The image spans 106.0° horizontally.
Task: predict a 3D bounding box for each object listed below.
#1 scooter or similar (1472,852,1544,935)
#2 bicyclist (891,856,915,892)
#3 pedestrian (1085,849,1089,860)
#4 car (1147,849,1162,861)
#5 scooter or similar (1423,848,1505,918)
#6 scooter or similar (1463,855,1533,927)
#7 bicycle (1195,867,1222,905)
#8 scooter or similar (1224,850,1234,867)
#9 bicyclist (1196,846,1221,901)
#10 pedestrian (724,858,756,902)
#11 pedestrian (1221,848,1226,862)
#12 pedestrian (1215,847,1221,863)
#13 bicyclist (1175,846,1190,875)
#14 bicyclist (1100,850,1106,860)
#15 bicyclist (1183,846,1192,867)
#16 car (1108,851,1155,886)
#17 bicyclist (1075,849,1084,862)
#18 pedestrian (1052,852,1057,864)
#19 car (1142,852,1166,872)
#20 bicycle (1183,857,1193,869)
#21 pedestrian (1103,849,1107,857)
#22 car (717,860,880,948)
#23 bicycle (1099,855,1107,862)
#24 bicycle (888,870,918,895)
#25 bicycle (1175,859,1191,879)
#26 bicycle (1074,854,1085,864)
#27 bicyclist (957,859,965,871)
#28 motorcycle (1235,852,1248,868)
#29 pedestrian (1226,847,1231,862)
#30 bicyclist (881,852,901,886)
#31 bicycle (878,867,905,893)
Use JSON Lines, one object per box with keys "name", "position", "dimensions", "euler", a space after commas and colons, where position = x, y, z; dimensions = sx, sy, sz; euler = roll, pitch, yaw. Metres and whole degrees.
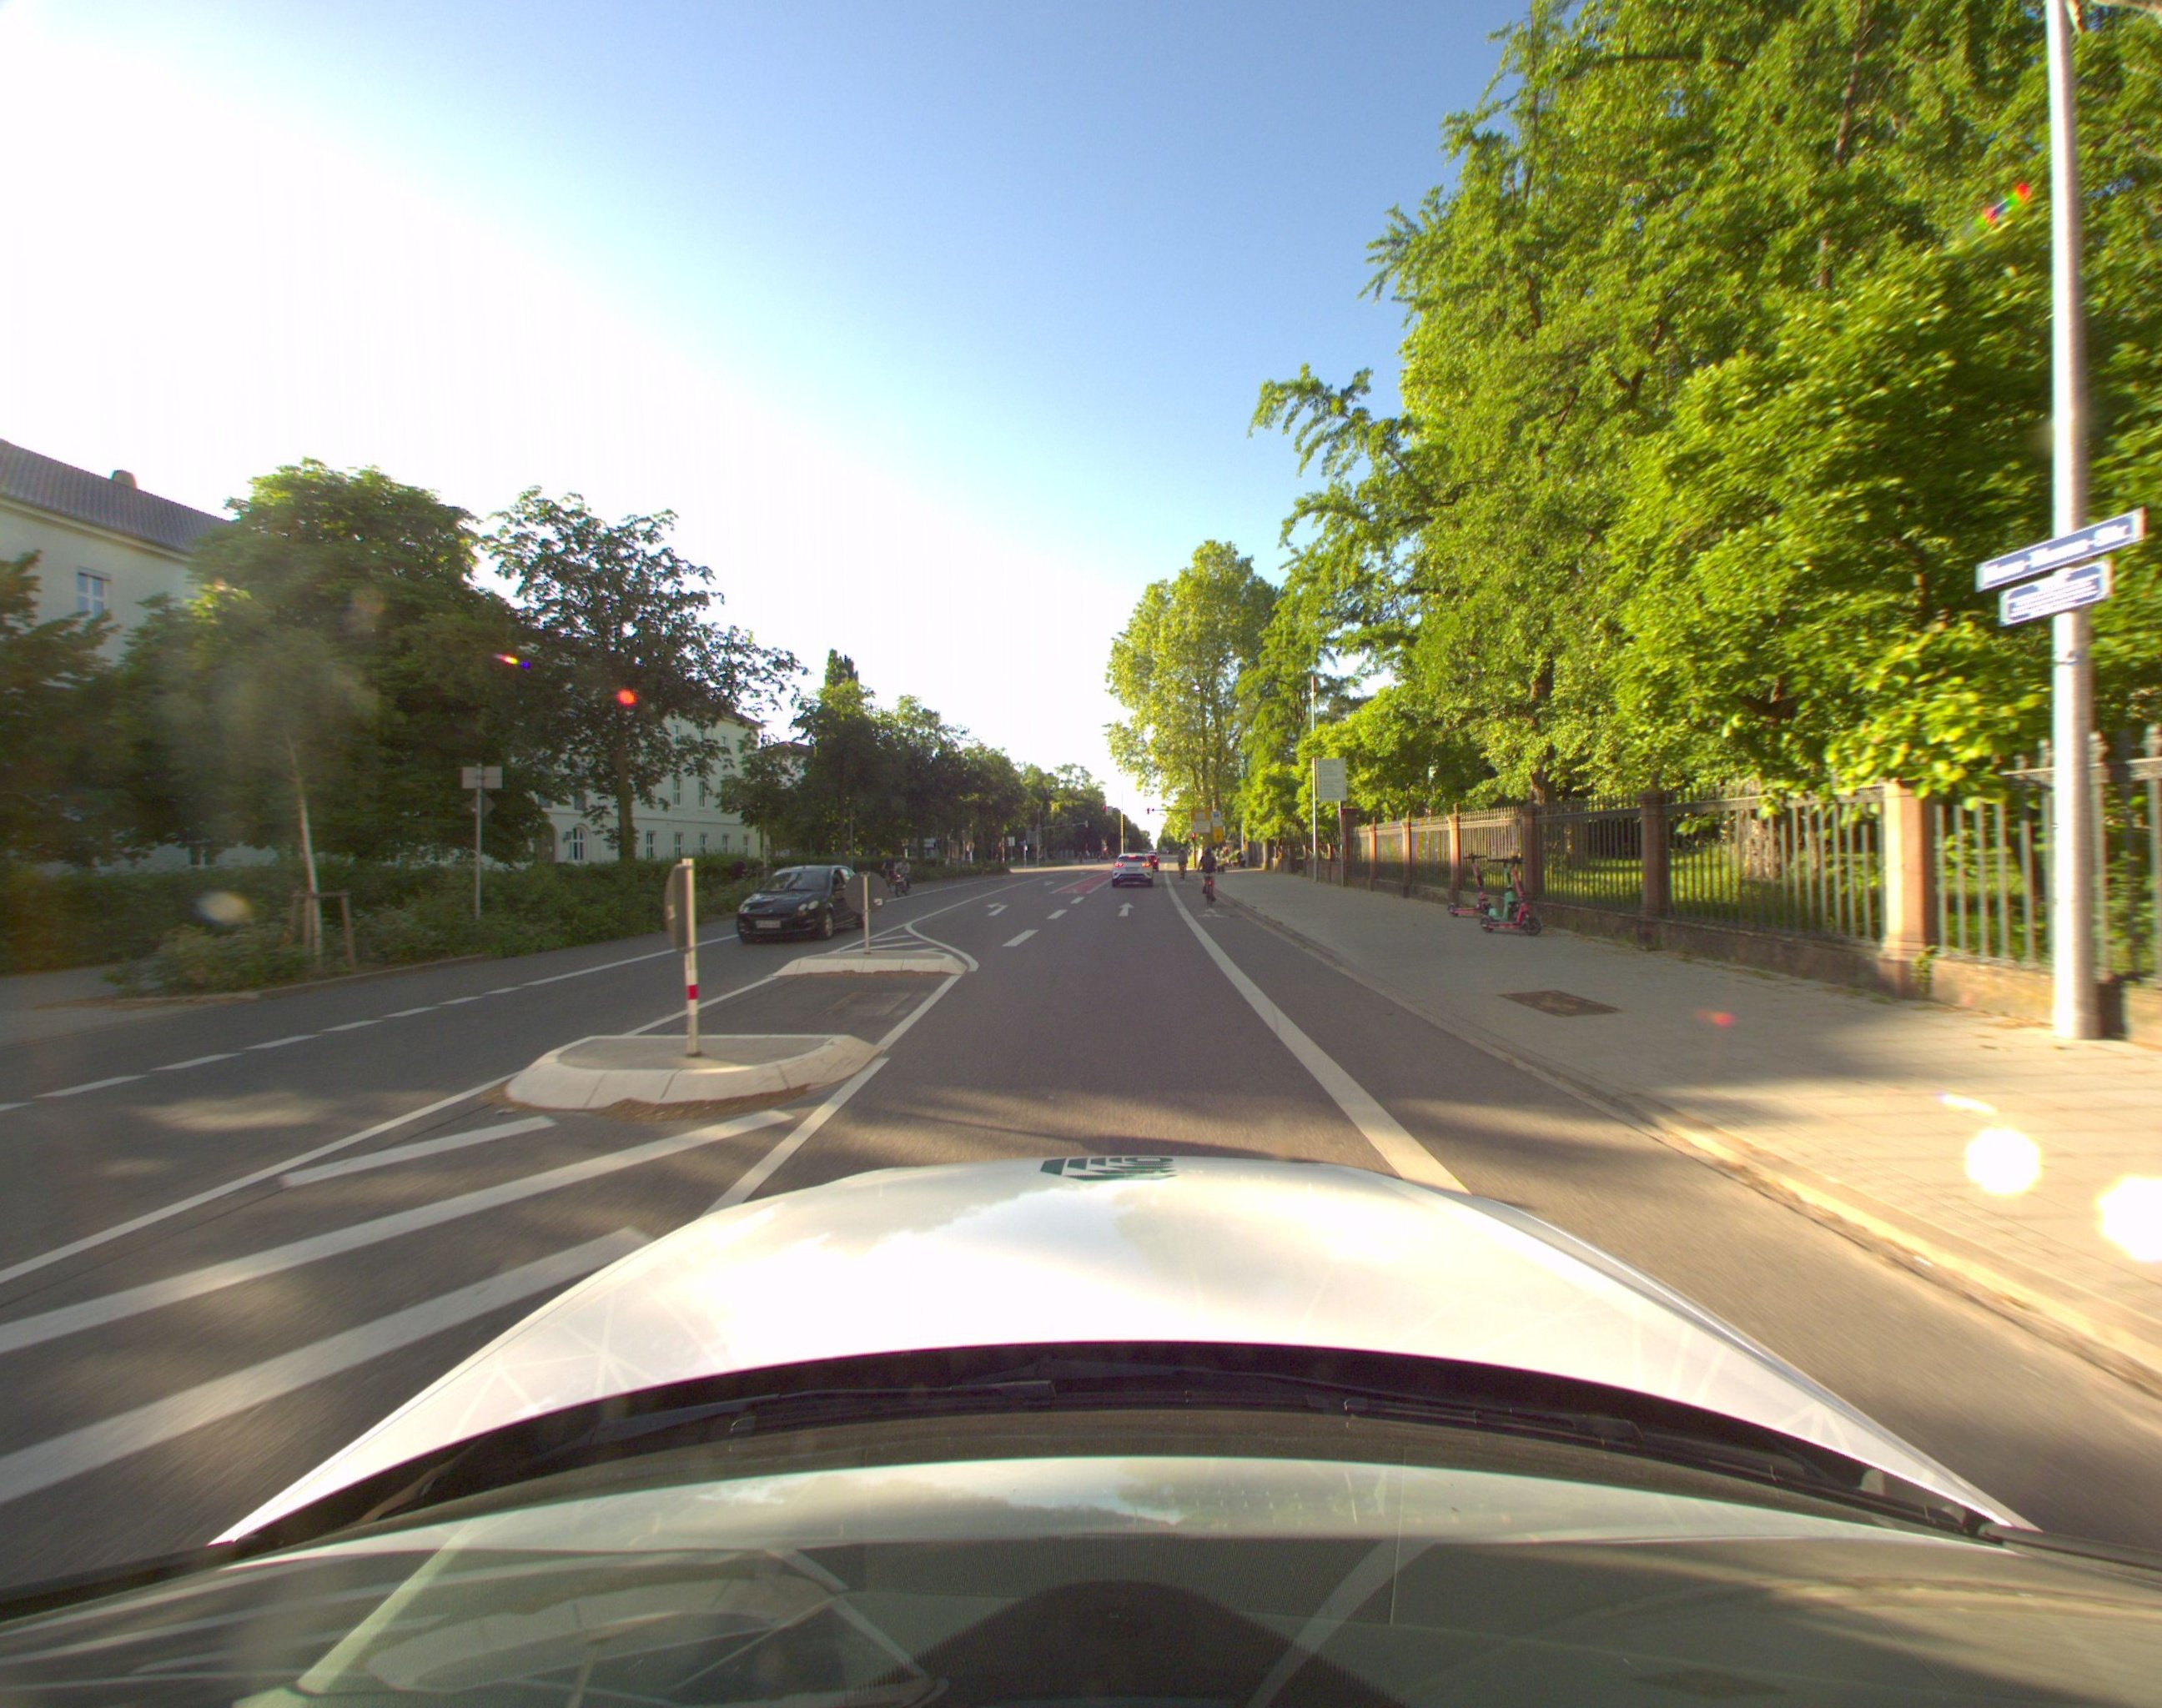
{"name": "scooter or similar", "position": [6.699, 0.594, 12.829], "dimensions": [0.297, 1.240, 1.156], "euler": [-2, 0, -11]}
{"name": "bicyclist", "position": [-7.318, 0.817, 33.522], "dimensions": [0.643, 1.418, 0.971], "euler": [-5, 0, 2]}
{"name": "pedestrian", "position": [1.241, 0.112, 159.707], "dimensions": [0.654, 2.013, 0.833], "euler": [-2, 0, 3]}
{"name": "car", "position": [10.436, 0.161, 115.058], "dimensions": [1.726, 1.546, 4.011], "euler": [-2, 0, 9]}
{"name": "scooter or similar", "position": [7.342, 0.533, 15.673], "dimensions": [0.548, 1.243, 1.551], "euler": [-2, 0, -12]}
{"name": "scooter or similar", "position": [7.030, 0.597, 13.779], "dimensions": [0.479, 1.122, 1.336], "euler": [-3, 0, 1]}
{"name": "bicycle", "position": [3.808, 0.937, 24.451], "dimensions": [0.640, 1.024, 2.215], "euler": [0, 0, 5]}
{"name": "scooter or similar", "position": [12.441, 0.374, 68.329], "dimensions": [0.563, 1.382, 1.858], "euler": [-2, 0, 4]}
{"name": "bicyclist", "position": [3.798, 0.563, 24.366], "dimensions": [0.633, 1.614, 1.286], "euler": [-1, 0, 5]}
{"name": "pedestrian", "position": [-14.904, 1.137, 35.628], "dimensions": [0.852, 1.851, 1.002], "euler": [-2, 0, 3]}
{"name": "pedestrian", "position": [16.983, 0.140, 96.884], "dimensions": [0.479, 1.640, 0.433], "euler": [-5, 3, 11]}
{"name": "pedestrian", "position": [16.290, 0.132, 96.780], "dimensions": [0.479, 1.792, 0.433], "euler": [-5, 3, 11]}
{"name": "bicyclist", "position": [5.466, 0.359, 43.868], "dimensions": [0.744, 1.537, 0.971], "euler": [-1, 0, 5]}
{"name": "bicyclist", "position": [3.609, 0.162, 133.777], "dimensions": [0.950, 1.705, 1.235], "euler": [-2, 0, 7]}
{"name": "bicyclist", "position": [9.077, 0.244, 69.426], "dimensions": [0.746, 1.750, 0.844], "euler": [-1, 0, 4]}
{"name": "car", "position": [2.351, 0.619, 37.269], "dimensions": [1.984, 1.453, 4.005], "euler": [-2, 0, 5]}
{"name": "bicyclist", "position": [-0.238, 0.175, 115.086], "dimensions": [1.086, 1.754, 1.099], "euler": [-2, 0, 7]}
{"name": "pedestrian", "position": [-4.374, 0.657, 136.056], "dimensions": [0.648, 1.888, 0.664], "euler": [-2, 0, 7]}
{"name": "car", "position": [6.075, 0.657, 67.941], "dimensions": [1.920, 1.533, 4.006], "euler": [-2, 0, 5]}
{"name": "bicycle", "position": [9.072, 0.775, 69.344], "dimensions": [0.749, 1.026, 1.872], "euler": [-1, -1, 5]}
{"name": "pedestrian", "position": [7.063, -0.328, 242.864], "dimensions": [0.869, 2.149, 1.107], "euler": [-2, 0, 14]}
{"name": "car", "position": [-5.557, 0.916, 16.576], "dimensions": [1.751, 1.459, 4.002], "euler": [-2, 0, 2]}
{"name": "bicycle", "position": [3.612, 0.729, 133.651], "dimensions": [0.959, 1.181, 2.957], "euler": [-2, 0, 7]}
{"name": "bicycle", "position": [-7.294, 1.161, 33.496], "dimensions": [0.614, 0.921, 2.181], "euler": [-2, 0, 2]}
{"name": "bicycle", "position": [5.463, 0.803, 43.784], "dimensions": [0.749, 1.026, 1.872], "euler": [-1, -1, 5]}
{"name": "bicycle", "position": [-0.220, 0.709, 115.002], "dimensions": [1.096, 1.255, 2.785], "euler": [-2, 0, 7]}
{"name": "bicyclist", "position": [-15.823, 1.425, 107.647], "dimensions": [0.916, 1.509, 0.508], "euler": [-2, 0, 12]}
{"name": "motorcycle", "position": [12.109, 0.428, 61.548], "dimensions": [0.659, 1.167, 2.330], "euler": [-4, 0, 5]}
{"name": "pedestrian", "position": [17.673, 0.071, 97.502], "dimensions": [0.479, 1.792, 0.433], "euler": [-5, 3, 11]}
{"name": "bicyclist", "position": [-8.879, 0.680, 38.038], "dimensions": [0.627, 1.522, 0.725], "euler": [-5, 0, 2]}
{"name": "bicycle", "position": [-8.847, 1.197, 38.022], "dimensions": [0.594, 1.120, 2.028], "euler": [-5, 0, 2]}
